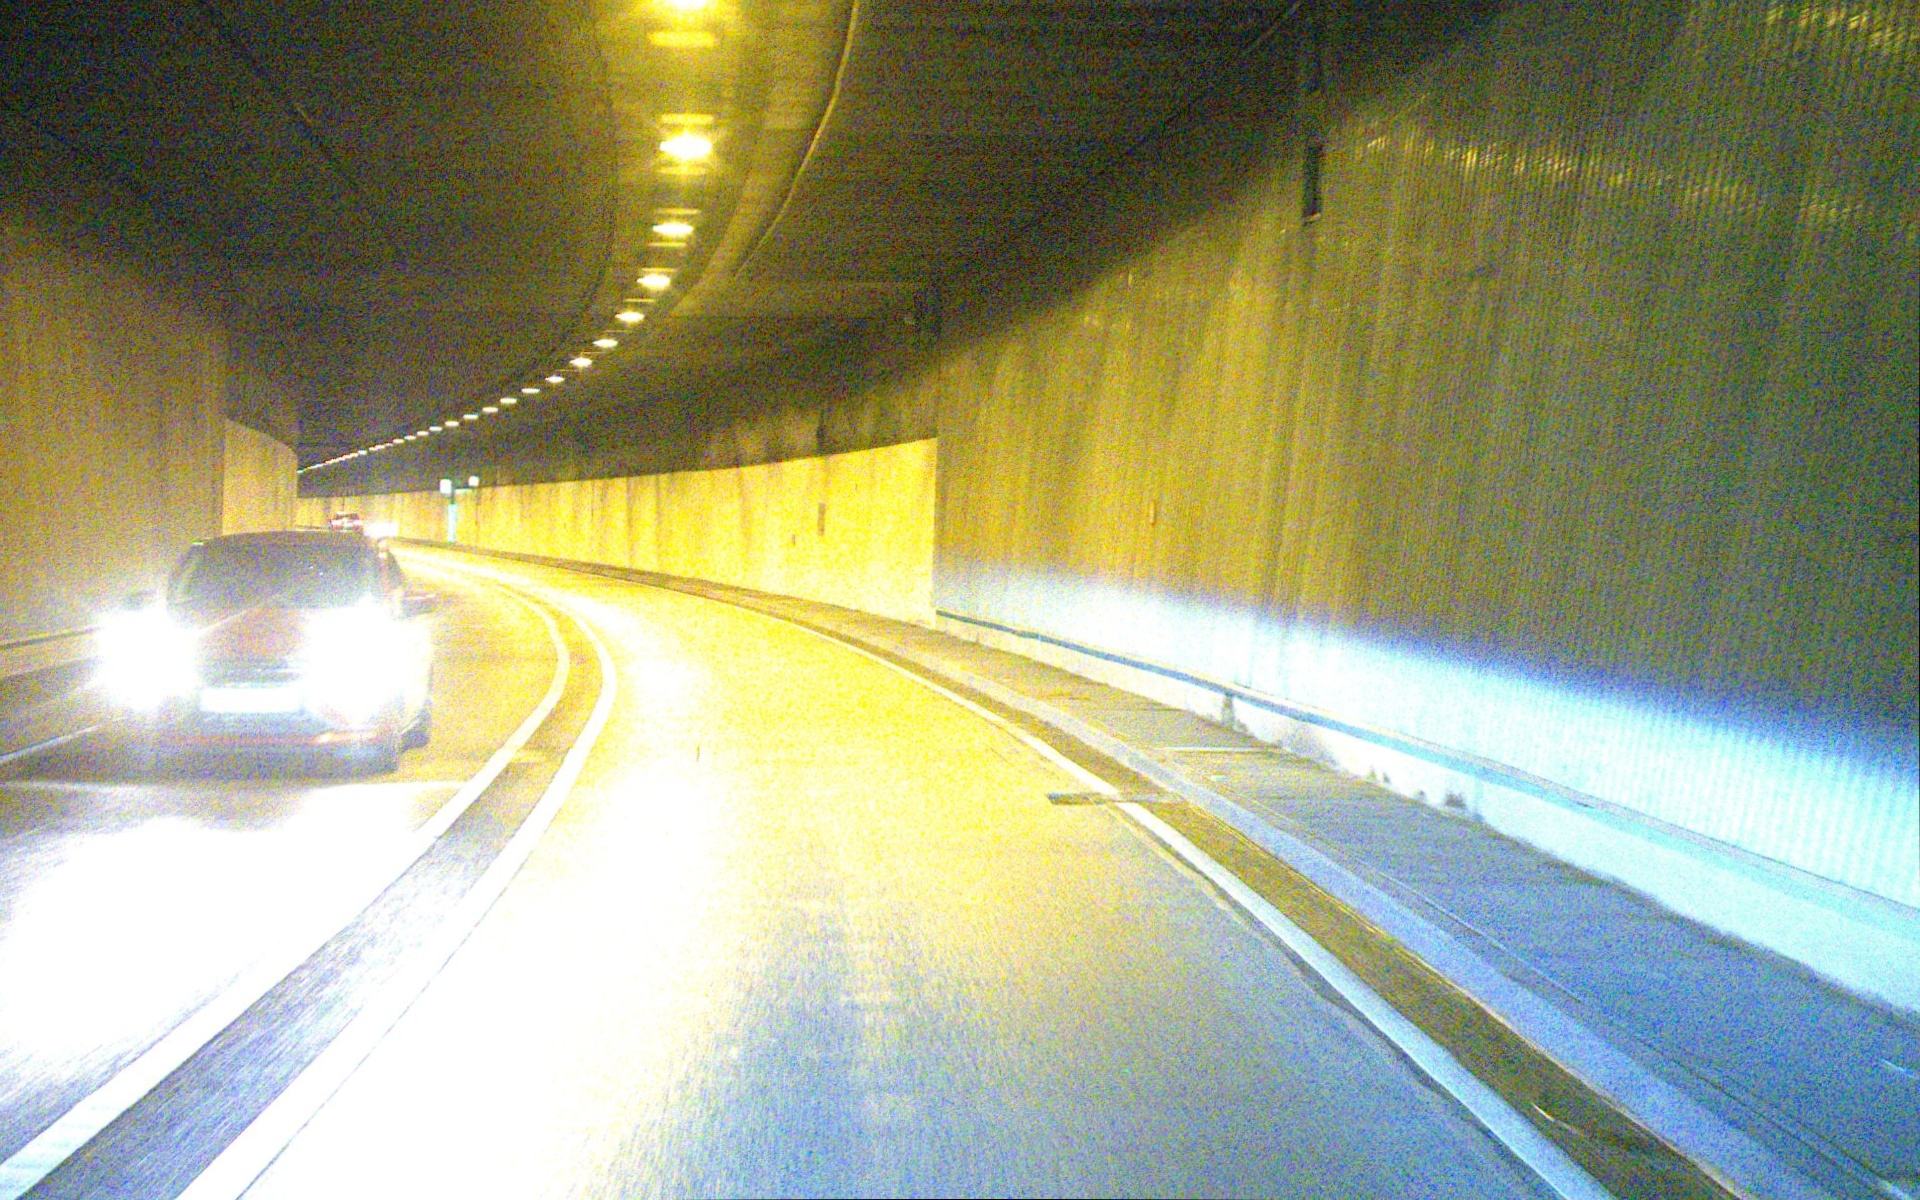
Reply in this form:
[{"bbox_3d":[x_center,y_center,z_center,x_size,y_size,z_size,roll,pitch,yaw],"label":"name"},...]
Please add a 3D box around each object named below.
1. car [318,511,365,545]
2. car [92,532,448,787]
[{"bbox_3d":[-36.356,-4.233,201.990,1.966,1.932,4.614,0,1,-20],"label":"car"},{"bbox_3d":[-4.339,0.306,22.199,1.716,1.438,4.394,1,1,-4],"label":"car"}]
